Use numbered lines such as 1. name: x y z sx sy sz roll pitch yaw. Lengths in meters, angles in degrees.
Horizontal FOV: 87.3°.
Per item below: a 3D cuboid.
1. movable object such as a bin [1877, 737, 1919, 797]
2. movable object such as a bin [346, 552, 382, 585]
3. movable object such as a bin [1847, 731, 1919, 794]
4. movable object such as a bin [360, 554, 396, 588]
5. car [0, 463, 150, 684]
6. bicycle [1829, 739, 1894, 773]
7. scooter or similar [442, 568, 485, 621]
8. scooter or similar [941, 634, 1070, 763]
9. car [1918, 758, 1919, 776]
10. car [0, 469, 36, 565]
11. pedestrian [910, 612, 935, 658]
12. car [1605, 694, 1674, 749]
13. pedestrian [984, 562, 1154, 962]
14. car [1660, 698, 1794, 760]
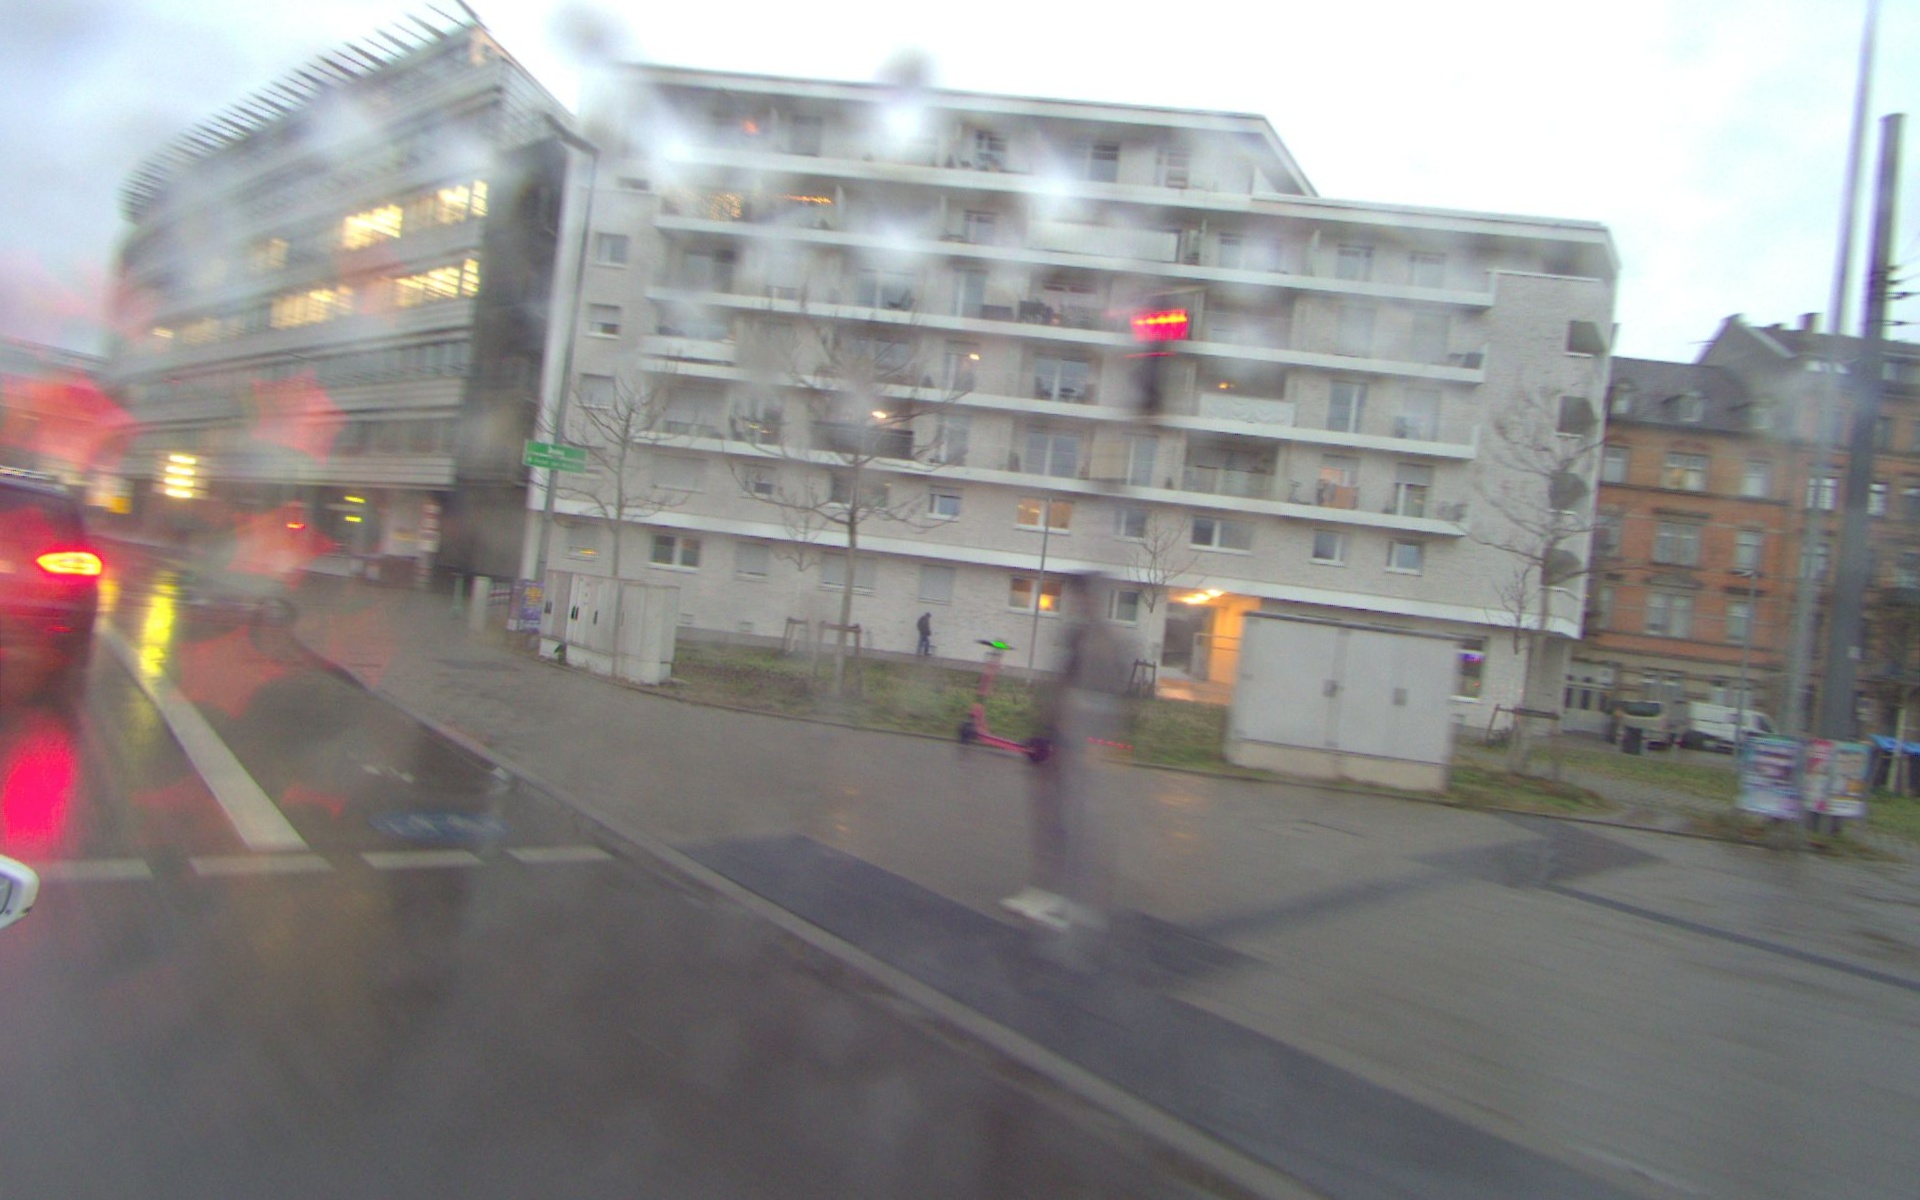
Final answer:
1. movable object such as a bin: 27.167 4.784 28.518 1.229 1.528 1.054 7 0 9
2. movable object such as a bin: -26.243 -1.367 44.278 1.149 1.310 0.844 6 1 33
3. movable object such as a bin: 27.451 4.822 29.906 1.118 1.594 1.054 7 0 9
4. movable object such as a bin: -25.222 -1.256 43.576 1.149 1.310 0.844 6 1 33
5. car: -9.344 -0.359 9.841 3.949 1.801 1.670 6 -1 45
6. bicycle: 34.868 6.038 38.954 0.439 0.943 1.787 6 1 -20
7. scooter or similar: -12.571 -0.154 25.441 0.664 1.241 1.543 6 -2 -35
8. scooter or similar: 0.480 1.051 10.947 1.287 1.221 0.333 6 0 32
9. car: 40.181 6.441 38.892 1.721 1.588 4.130 7 -1 -27
10. car: -20.915 -1.868 21.087 4.427 1.827 1.840 6 -2 43
11. pedestrian: -1.434 1.332 38.263 0.622 1.652 0.720 7 0 -14
12. car: 28.978 5.131 43.039 1.910 1.965 4.592 6 -1 30
13. pedestrian: 0.609 0.811 5.365 0.623 1.900 0.776 7 0 11
14. car: 36.290 6.076 47.715 4.574 2.215 2.001 7 -1 2
